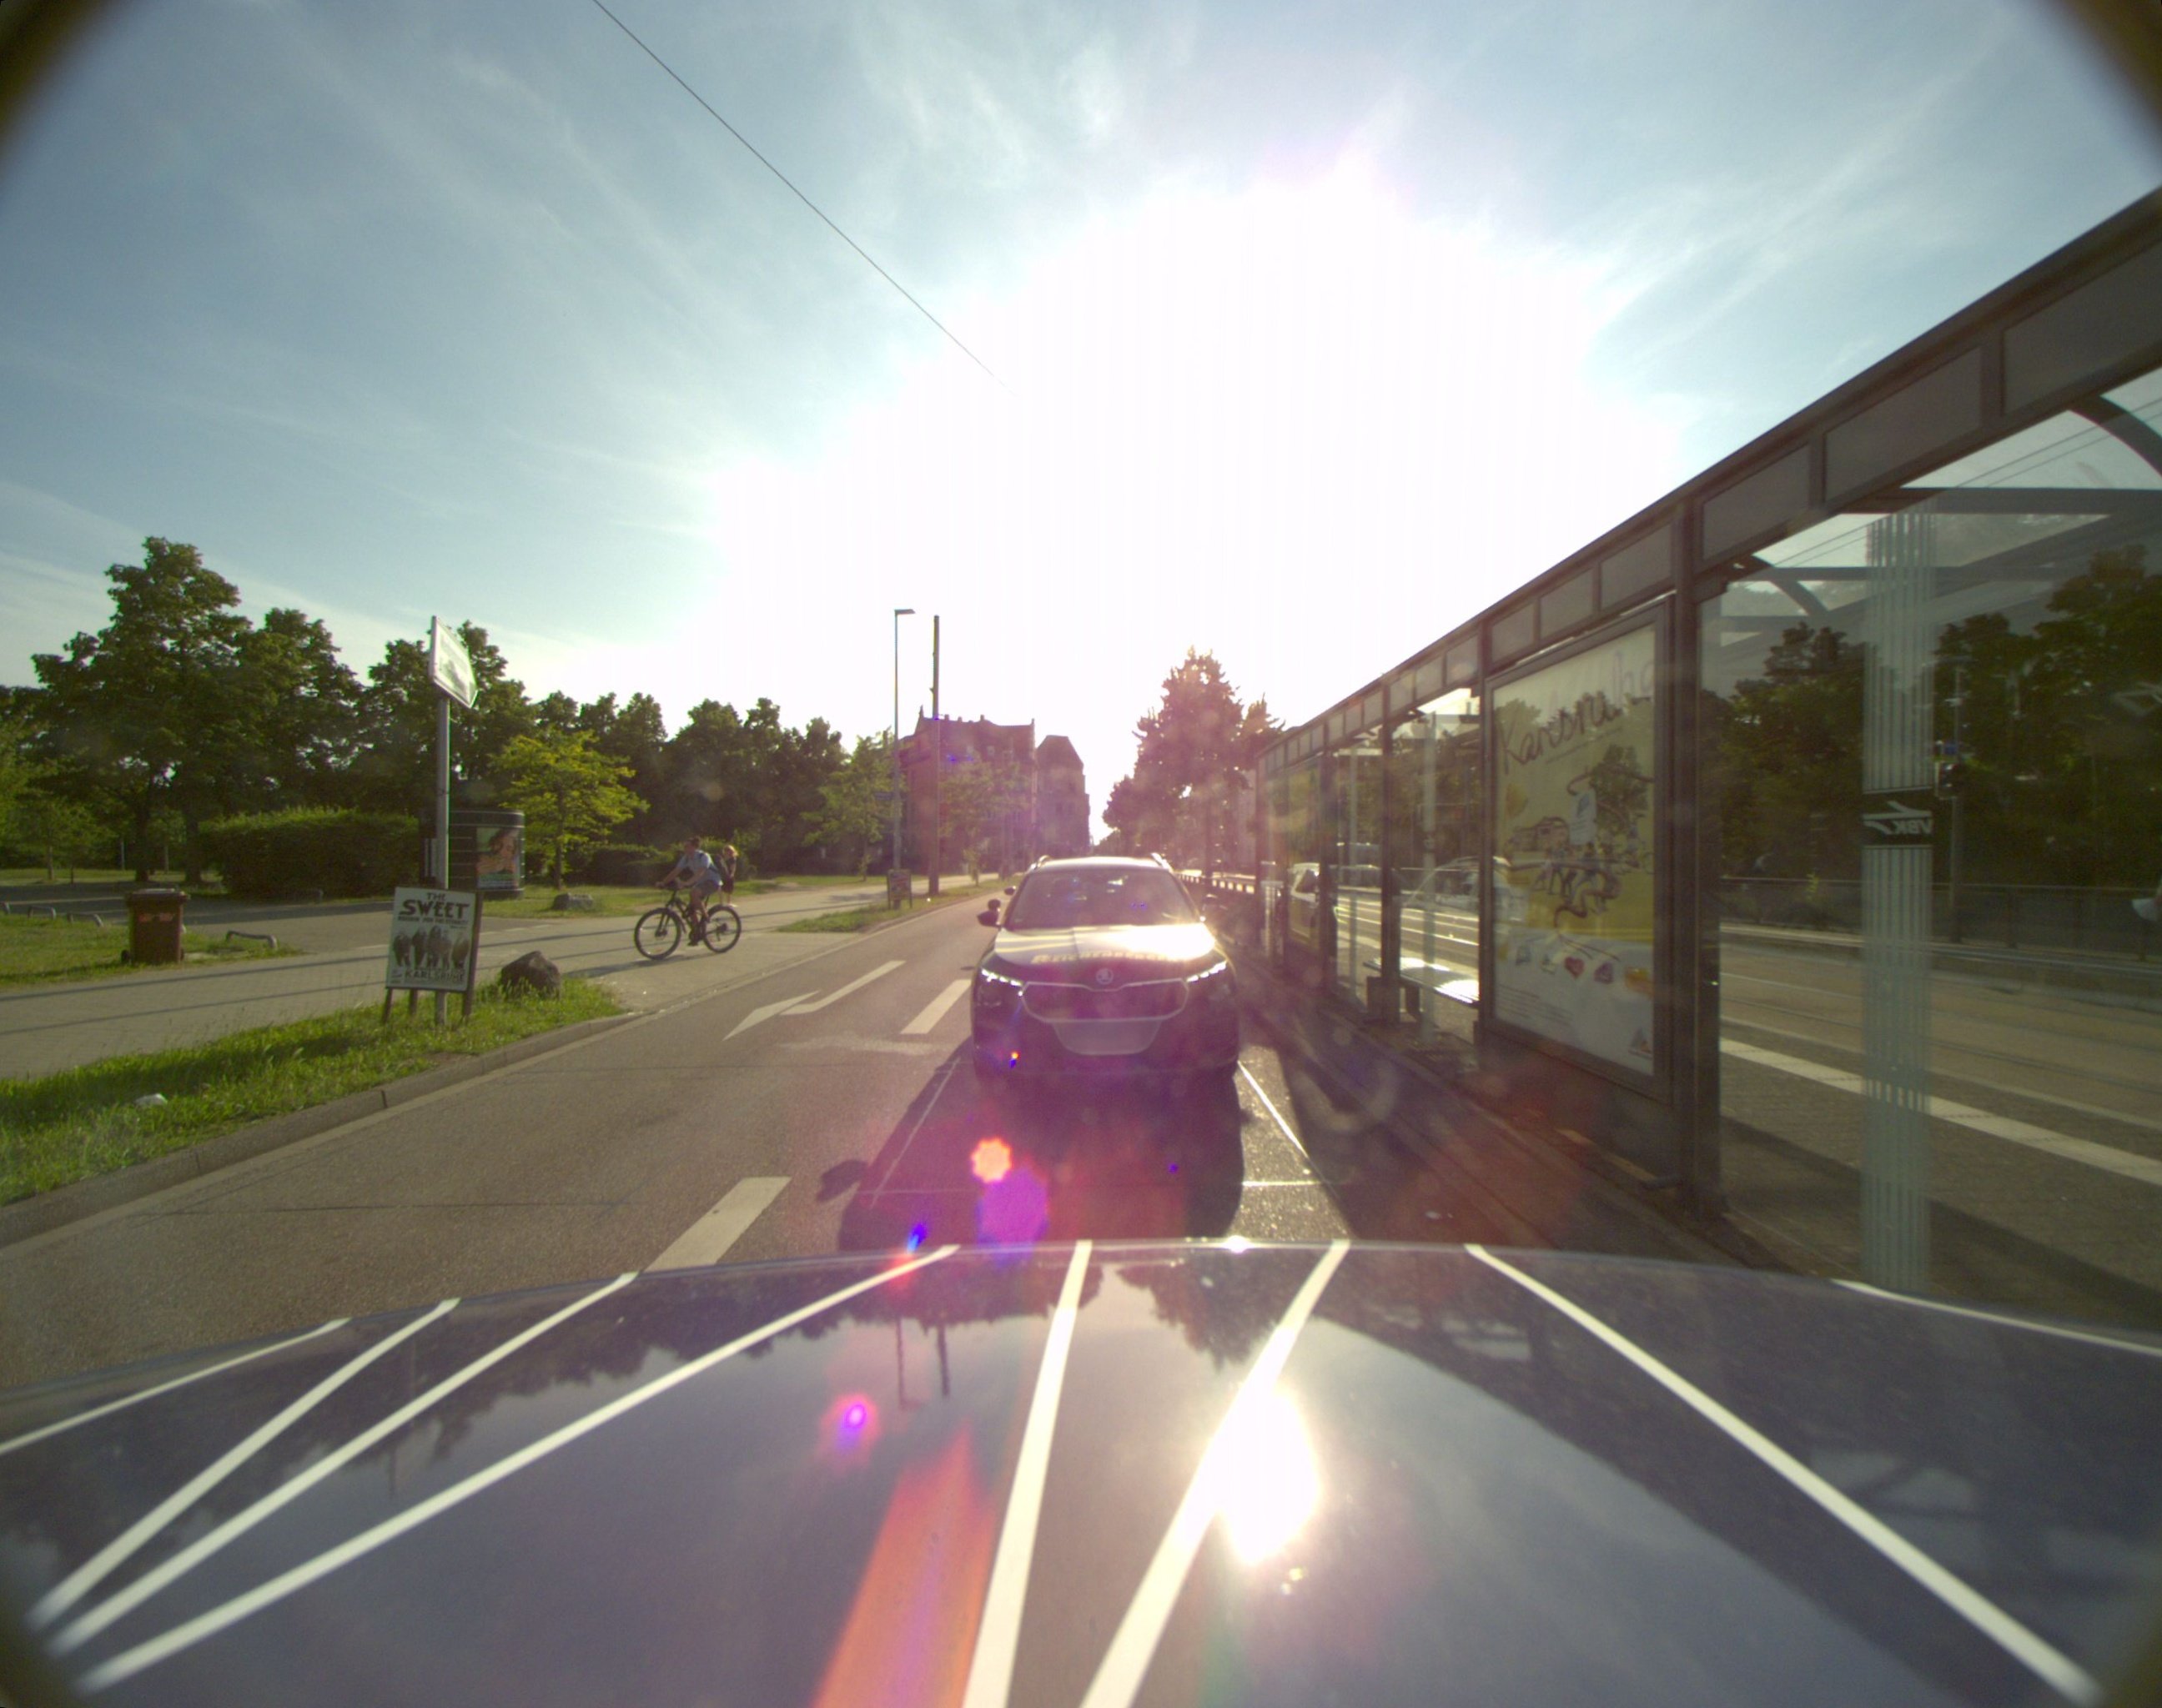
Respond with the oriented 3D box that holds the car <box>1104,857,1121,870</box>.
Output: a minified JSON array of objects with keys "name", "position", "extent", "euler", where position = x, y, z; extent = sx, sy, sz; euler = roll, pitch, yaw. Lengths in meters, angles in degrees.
[{"name":"car","position":[4.226,1.252,101.876],"extent":[1.999,1.674,3.999],"euler":[0,0,-1]}]

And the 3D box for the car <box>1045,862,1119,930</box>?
[{"name":"car","position":[0.055,0.967,19.089],"extent":[1.672,1.496,3.872],"euler":[0,0,1]}]

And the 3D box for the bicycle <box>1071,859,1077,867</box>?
[{"name":"bicycle","position":[-0.830,1.028,89.762],"extent":[0.740,0.912,2.094],"euler":[0,0,0]}]

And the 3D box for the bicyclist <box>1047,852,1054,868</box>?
[{"name":"bicyclist","position":[-3.526,0.687,87.881],"extent":[0.754,1.763,1.118],"euler":[0,0,0]}]

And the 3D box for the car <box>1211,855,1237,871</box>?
[{"name":"car","position":[17.829,1.076,94.870],"extent":[2.000,2.002,3.997],"euler":[0,0,-6]}]

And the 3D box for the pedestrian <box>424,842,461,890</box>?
[{"name":"pedestrian","position":[-28.775,0.527,34.262],"extent":[0.910,2.145,0.891],"euler":[0,0,13]}]

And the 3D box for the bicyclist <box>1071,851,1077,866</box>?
[{"name":"bicyclist","position":[-0.794,0.525,89.694],"extent":[0.730,1.763,1.015],"euler":[0,0,-1]}]

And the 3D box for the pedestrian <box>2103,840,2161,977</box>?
[{"name":"pedestrian","position":[13.078,0.642,9.084],"extent":[0.708,1.618,0.727],"euler":[0,0,1]}]

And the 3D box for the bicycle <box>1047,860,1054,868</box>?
[{"name":"bicycle","position":[-3.529,1.127,87.794],"extent":[0.740,0.912,2.095],"euler":[0,0,1]}]

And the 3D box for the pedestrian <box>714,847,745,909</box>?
[{"name":"pedestrian","position":[-9.697,0.644,20.971],"extent":[0.558,1.691,0.662],"euler":[0,1,0]}]

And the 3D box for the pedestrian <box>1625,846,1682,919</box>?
[{"name":"pedestrian","position":[12.893,0.625,17.130],"extent":[0.736,1.618,0.689],"euler":[0,0,1]}]

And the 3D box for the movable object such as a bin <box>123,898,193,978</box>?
[{"name":"movable object such as a bin","position":[-11.248,1.010,9.267],"extent":[0.502,0.898,0.526],"euler":[1,1,39]}]

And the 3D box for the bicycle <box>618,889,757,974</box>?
[{"name":"bicycle","position":[-5.898,1.118,11.531],"extent":[0.641,1.081,1.943],"euler":[3,0,18]}]

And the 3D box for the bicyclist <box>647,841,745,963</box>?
[{"name":"bicyclist","position":[-5.859,0.703,11.616],"extent":[0.649,1.735,1.142],"euler":[3,1,17]}]

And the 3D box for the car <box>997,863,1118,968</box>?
[{"name":"car","position":[-0.323,0.935,13.245],"extent":[1.781,1.496,4.000],"euler":[0,0,1]}]

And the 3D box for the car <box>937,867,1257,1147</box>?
[{"name":"car","position":[0.114,0.888,6.247],"extent":[1.781,1.496,4.000],"euler":[0,0,1]}]
